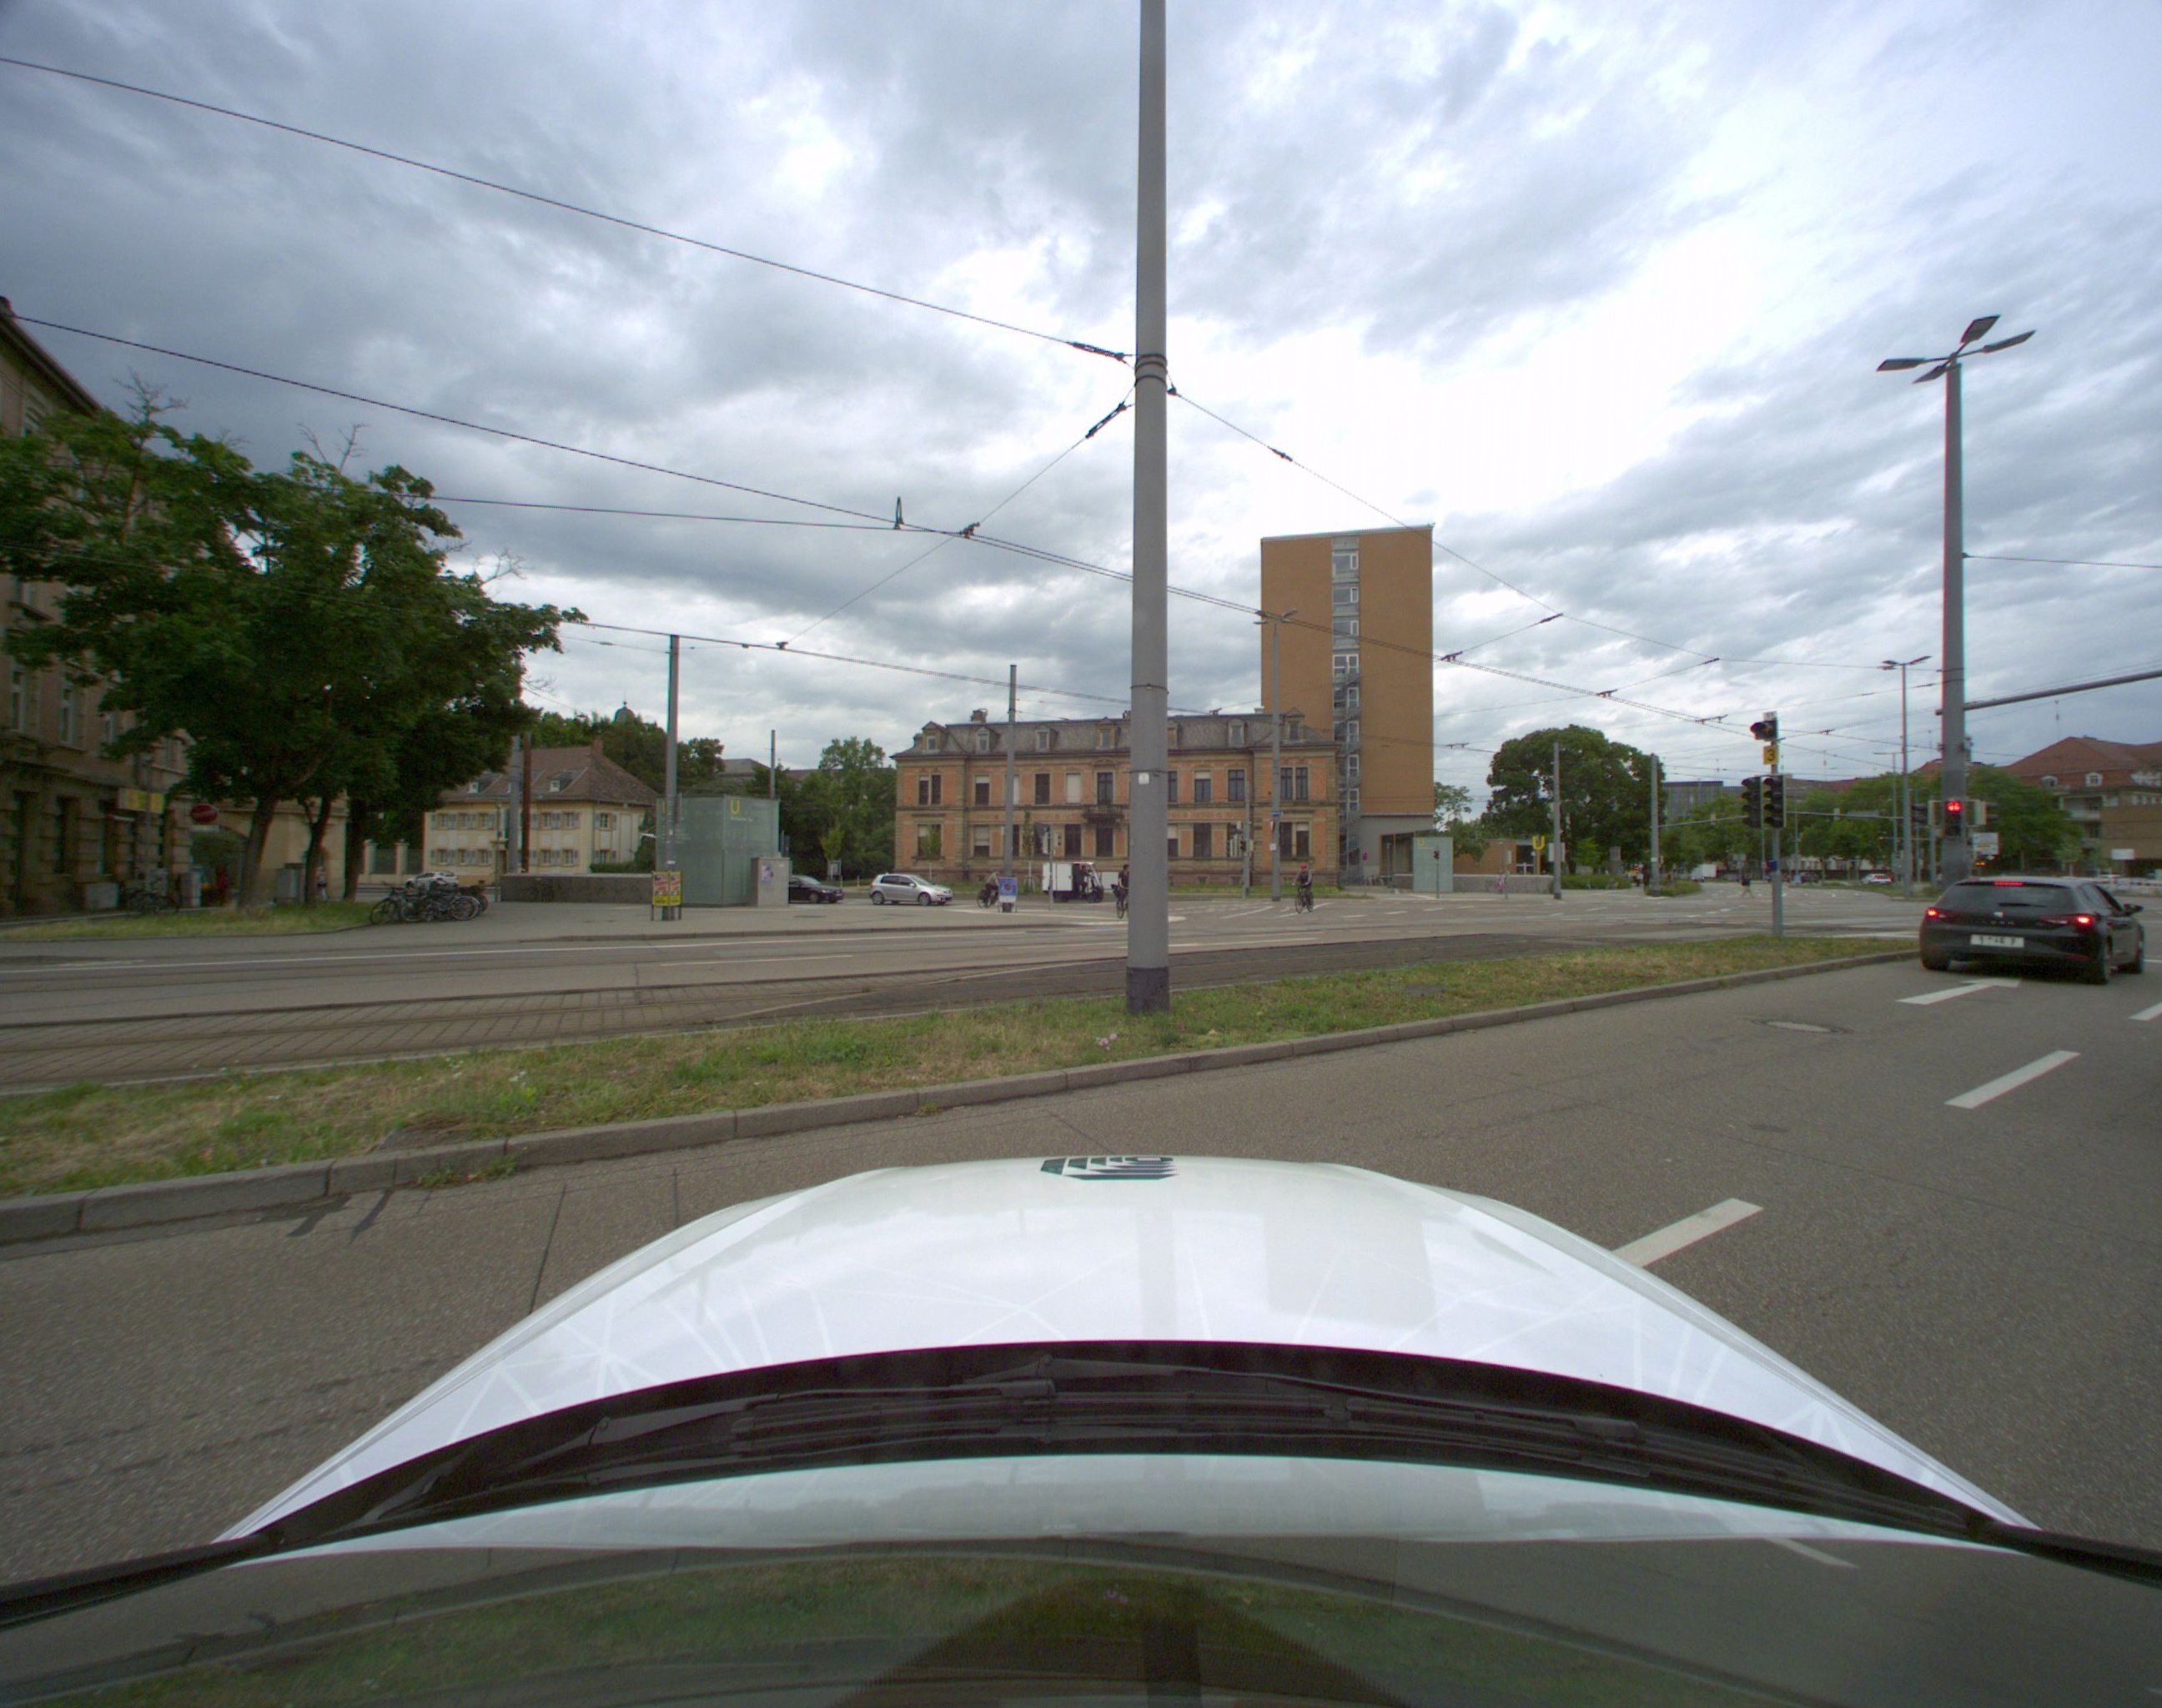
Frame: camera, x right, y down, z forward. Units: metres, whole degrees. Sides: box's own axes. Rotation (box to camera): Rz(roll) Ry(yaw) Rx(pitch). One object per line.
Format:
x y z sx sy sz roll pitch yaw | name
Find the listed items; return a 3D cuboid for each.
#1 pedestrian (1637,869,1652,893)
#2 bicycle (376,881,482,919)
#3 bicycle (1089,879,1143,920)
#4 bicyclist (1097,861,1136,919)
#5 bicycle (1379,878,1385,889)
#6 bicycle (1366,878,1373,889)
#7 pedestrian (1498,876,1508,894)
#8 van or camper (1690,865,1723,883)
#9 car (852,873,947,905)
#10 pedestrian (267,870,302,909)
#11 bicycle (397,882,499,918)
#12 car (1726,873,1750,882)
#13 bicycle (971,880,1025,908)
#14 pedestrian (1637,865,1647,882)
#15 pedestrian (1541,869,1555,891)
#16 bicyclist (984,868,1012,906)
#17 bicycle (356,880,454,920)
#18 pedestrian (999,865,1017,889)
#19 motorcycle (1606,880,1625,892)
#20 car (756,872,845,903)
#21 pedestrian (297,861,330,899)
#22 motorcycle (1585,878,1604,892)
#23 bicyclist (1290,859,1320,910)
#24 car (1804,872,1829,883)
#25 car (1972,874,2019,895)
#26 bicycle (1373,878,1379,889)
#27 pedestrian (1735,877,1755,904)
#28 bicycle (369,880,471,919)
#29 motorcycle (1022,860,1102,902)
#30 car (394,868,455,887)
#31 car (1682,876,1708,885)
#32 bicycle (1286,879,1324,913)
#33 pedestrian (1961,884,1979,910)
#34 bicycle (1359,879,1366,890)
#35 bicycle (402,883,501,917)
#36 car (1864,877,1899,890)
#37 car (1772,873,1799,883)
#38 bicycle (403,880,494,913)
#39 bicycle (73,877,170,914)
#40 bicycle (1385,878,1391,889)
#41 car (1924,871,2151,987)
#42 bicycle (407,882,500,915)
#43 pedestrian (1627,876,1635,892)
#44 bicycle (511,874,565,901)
48.001 2.285 69.366 0.919 2.014 1.018 0 -3 39 | pedestrian
-17.952 1.262 22.480 2.222 1.006 0.476 1 -1 -22 | bicycle
1.097 1.453 26.294 0.818 1.243 1.981 0 -2 -29 | bicycle
1.143 1.144 26.207 0.818 1.798 1.020 0 -1 -29 | bicyclist
31.036 3.045 83.925 0.477 1.049 1.434 0 -1 16 | bicycle
29.815 3.055 84.206 0.566 1.106 1.434 0 -1 16 | bicycle
31.397 2.322 60.579 0.568 1.336 0.500 1 -1 8 | pedestrian
113.506 3.626 147.862 2.373 3.124 5.519 0 -1 10 | van or camper
-8.627 1.636 38.804 4.111 1.454 1.771 0 -1 21 | car
-35.793 1.590 36.598 0.849 1.723 0.943 1 -1 -29 | pedestrian
-18.049 1.309 23.277 2.222 0.987 0.496 1 -1 -22 | bicycle
115.582 4.170 143.269 1.763 1.464 4.016 0 -1 15 | car
-3.658 1.733 35.728 2.173 1.208 0.861 0 -2 18 | bicycle
64.744 2.261 93.953 0.786 1.982 0.886 0 -3 24 | pedestrian
42.595 2.363 74.317 1.011 2.014 0.851 -1 -2 39 | pedestrian
-3.649 1.437 35.740 0.907 1.623 0.859 0 -2 19 | bicyclist
-17.565 1.189 21.219 1.871 0.987 0.496 1 -1 -24 | bicycle
-5.281 1.668 59.147 1.118 1.763 0.759 0 -1 6 | pedestrian
51.727 3.117 78.820 1.744 1.111 0.508 1 -1 -19 | motorcycle
-14.038 1.663 40.779 4.093 1.449 1.706 0 -1 23 | car
-35.799 1.198 37.989 0.849 1.723 0.943 1 -1 -29 | pedestrian
49.598 2.983 78.624 1.457 1.268 0.513 0 -1 12 | motorcycle
8.555 1.156 31.086 0.821 1.892 1.055 -2 -2 29 | bicyclist
104.782 3.363 116.039 1.759 1.464 4.024 0 -1 29 | car
80.303 2.697 71.579 1.974 1.684 4.024 0 -3 37 | car
30.452 3.061 84.029 0.504 1.049 1.434 0 -1 16 | bicycle
48.538 2.668 59.517 1.017 1.934 0.705 -1 -2 33 | pedestrian
-17.781 1.214 21.944 2.039 0.987 0.518 1 -1 -22 | bicycle
-0.928 1.310 40.737 3.647 2.014 1.703 0 -1 17 | motorcycle
-53.974 1.905 66.960 4.143 1.449 1.703 0 -1 15 | car
102.662 4.383 136.212 1.765 1.464 4.011 0 -1 10 | car
8.576 1.581 31.101 0.816 1.208 2.248 -1 -2 30 | bicycle
53.802 2.588 49.307 0.420 1.542 0.721 2 -2 -43 | pedestrian
29.159 3.179 84.349 0.566 1.106 1.434 0 -1 16 | bicycle
-18.756 1.361 24.320 2.222 0.987 0.606 1 -1 -22 | bicycle
93.538 3.441 95.237 1.759 1.464 4.023 0 -1 26 | car
108.278 3.685 125.168 1.761 1.464 4.019 0 -1 19 | car
-20.589 1.389 26.566 2.222 1.039 0.683 1 -1 -22 | bicycle
-25.184 1.089 21.379 1.972 0.914 0.664 1 -1 8 | bicycle
31.542 3.033 83.783 0.477 1.049 1.434 0 -1 16 | bicycle
14.272 1.003 12.116 3.825 1.449 1.692 1 -1 -33 | car
-19.712 1.398 25.646 2.222 0.987 0.581 1 -1 -22 | bicycle
72.287 3.945 107.023 0.870 1.982 0.801 -1 -3 41 | pedestrian
-23.791 1.450 35.679 2.335 1.115 0.744 0 -1 20 | bicycle
